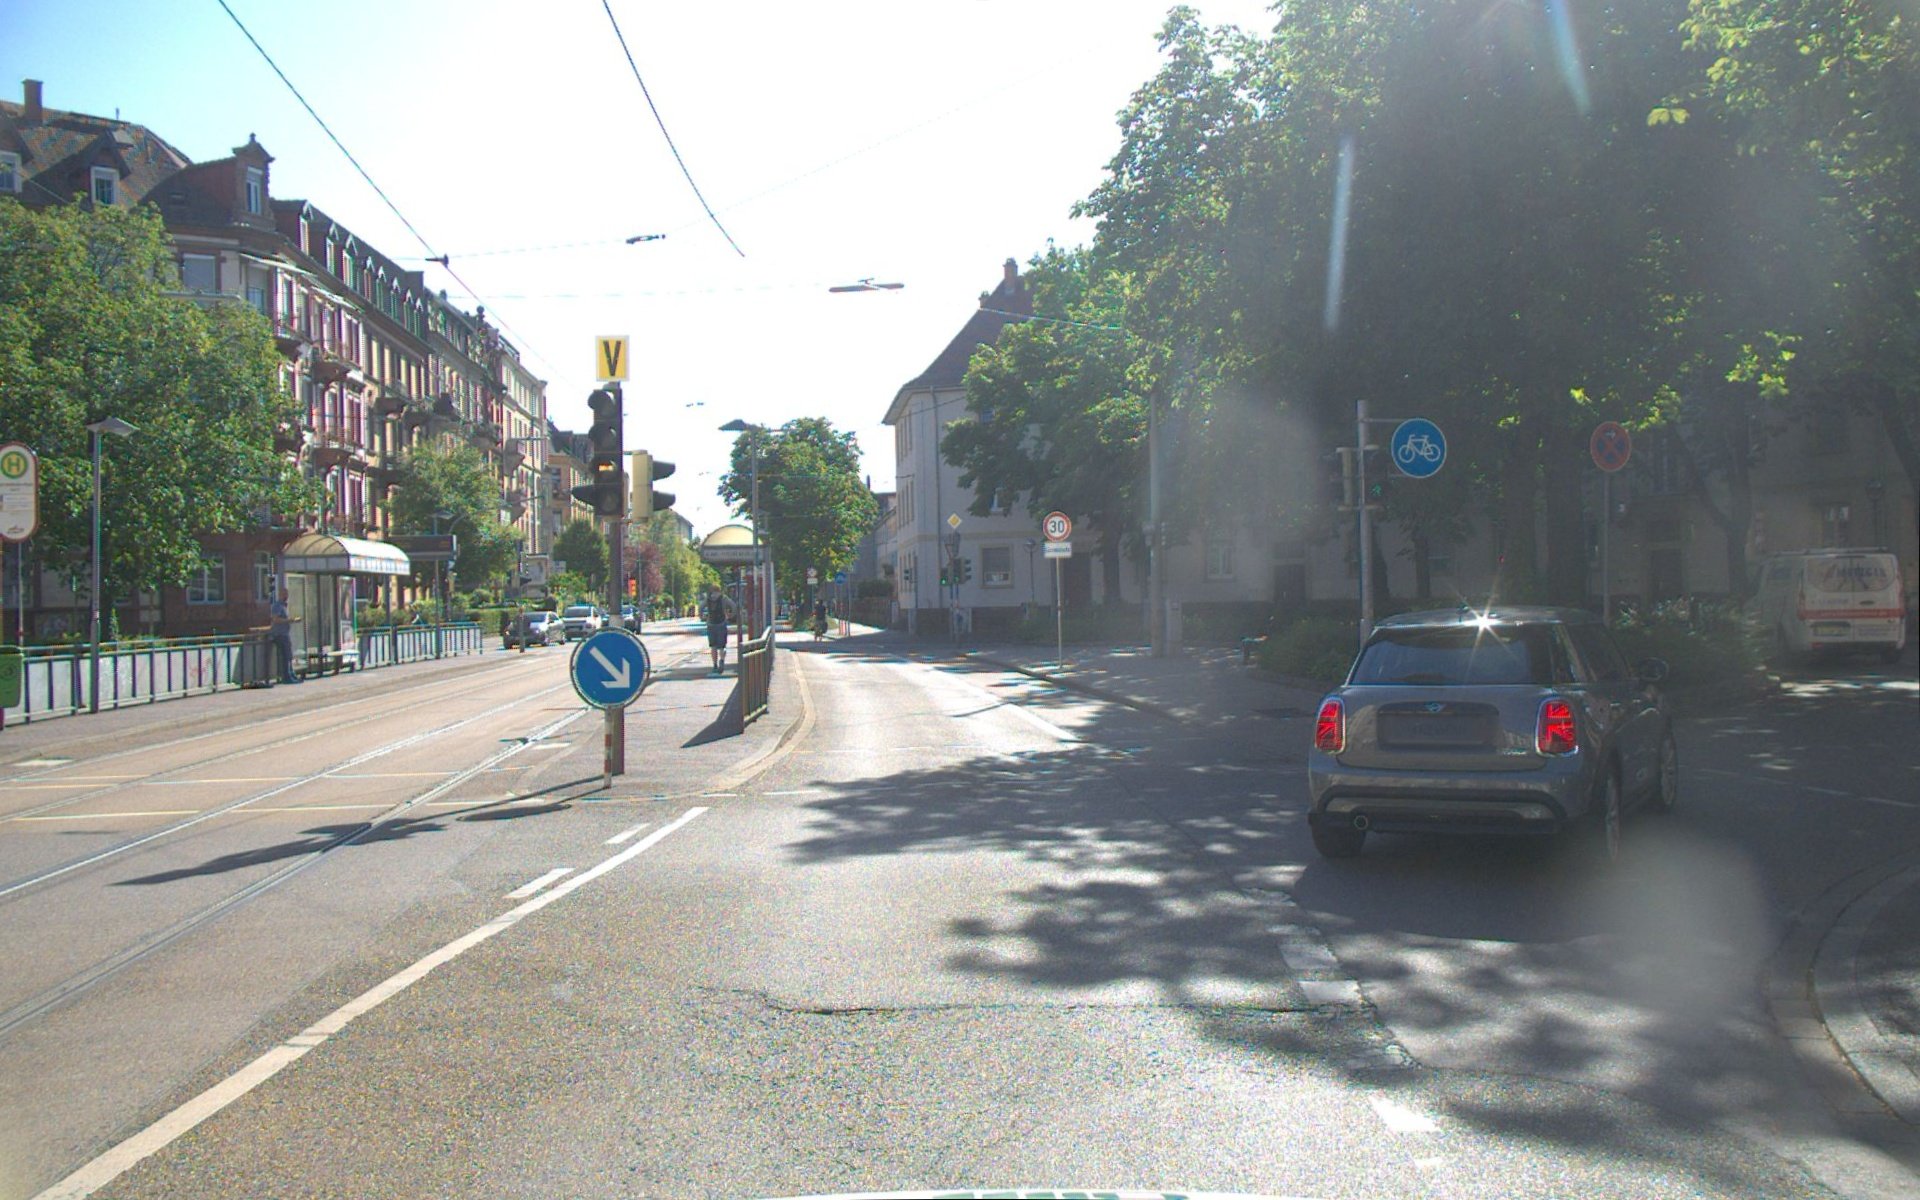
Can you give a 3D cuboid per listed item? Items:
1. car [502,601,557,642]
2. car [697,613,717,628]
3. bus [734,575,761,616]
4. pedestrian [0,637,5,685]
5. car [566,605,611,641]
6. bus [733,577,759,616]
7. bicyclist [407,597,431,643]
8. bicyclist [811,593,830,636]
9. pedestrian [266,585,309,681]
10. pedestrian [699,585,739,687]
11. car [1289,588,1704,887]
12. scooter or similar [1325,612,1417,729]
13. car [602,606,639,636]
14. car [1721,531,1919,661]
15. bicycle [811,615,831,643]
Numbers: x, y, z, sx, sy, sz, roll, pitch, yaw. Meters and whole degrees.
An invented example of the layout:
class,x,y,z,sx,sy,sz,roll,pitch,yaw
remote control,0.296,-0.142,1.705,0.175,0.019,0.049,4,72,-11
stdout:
class,x,y,z,sx,sy,sz,roll,pitch,yaw
car,-17.821,0.900,68.581,1.742,1.646,3.993,0,-1,-8
car,-26.629,2.159,174.292,1.955,1.624,3.994,0,-1,-6
bus,-19.497,-0.367,151.269,2.341,3.558,7.369,0,-1,-8
pedestrian,-24.525,1.551,41.783,0.598,1.222,0.575,-2,0,-23
car,-17.609,1.085,78.547,1.742,1.646,3.993,0,-1,-8
bus,-20.527,-0.291,158.590,2.341,3.558,7.369,0,-1,-8
bicyclist,-20.243,0.754,61.911,0.699,1.694,0.734,0,-1,-2
bicyclist,-6.092,0.644,72.320,0.802,1.843,1.057,0,-1,-7
pedestrian,-12.941,0.630,31.831,0.594,1.826,0.578,-1,0,-8
pedestrian,-4.928,0.727,33.840,0.780,2.049,0.739,0,-1,-6
car,3.594,0.719,10.577,1.781,1.514,3.993,-1,-1,29
scooter or similar,4.883,0.818,19.712,0.663,1.333,1.327,0,-1,-5
car,-18.962,1.185,92.627,1.742,1.646,3.993,0,-1,-8
car,16.075,-0.042,31.204,2.073,2.247,4.948,0,-1,12
bicycle,-6.094,1.251,72.304,0.825,1.176,2.535,0,-1,-6
